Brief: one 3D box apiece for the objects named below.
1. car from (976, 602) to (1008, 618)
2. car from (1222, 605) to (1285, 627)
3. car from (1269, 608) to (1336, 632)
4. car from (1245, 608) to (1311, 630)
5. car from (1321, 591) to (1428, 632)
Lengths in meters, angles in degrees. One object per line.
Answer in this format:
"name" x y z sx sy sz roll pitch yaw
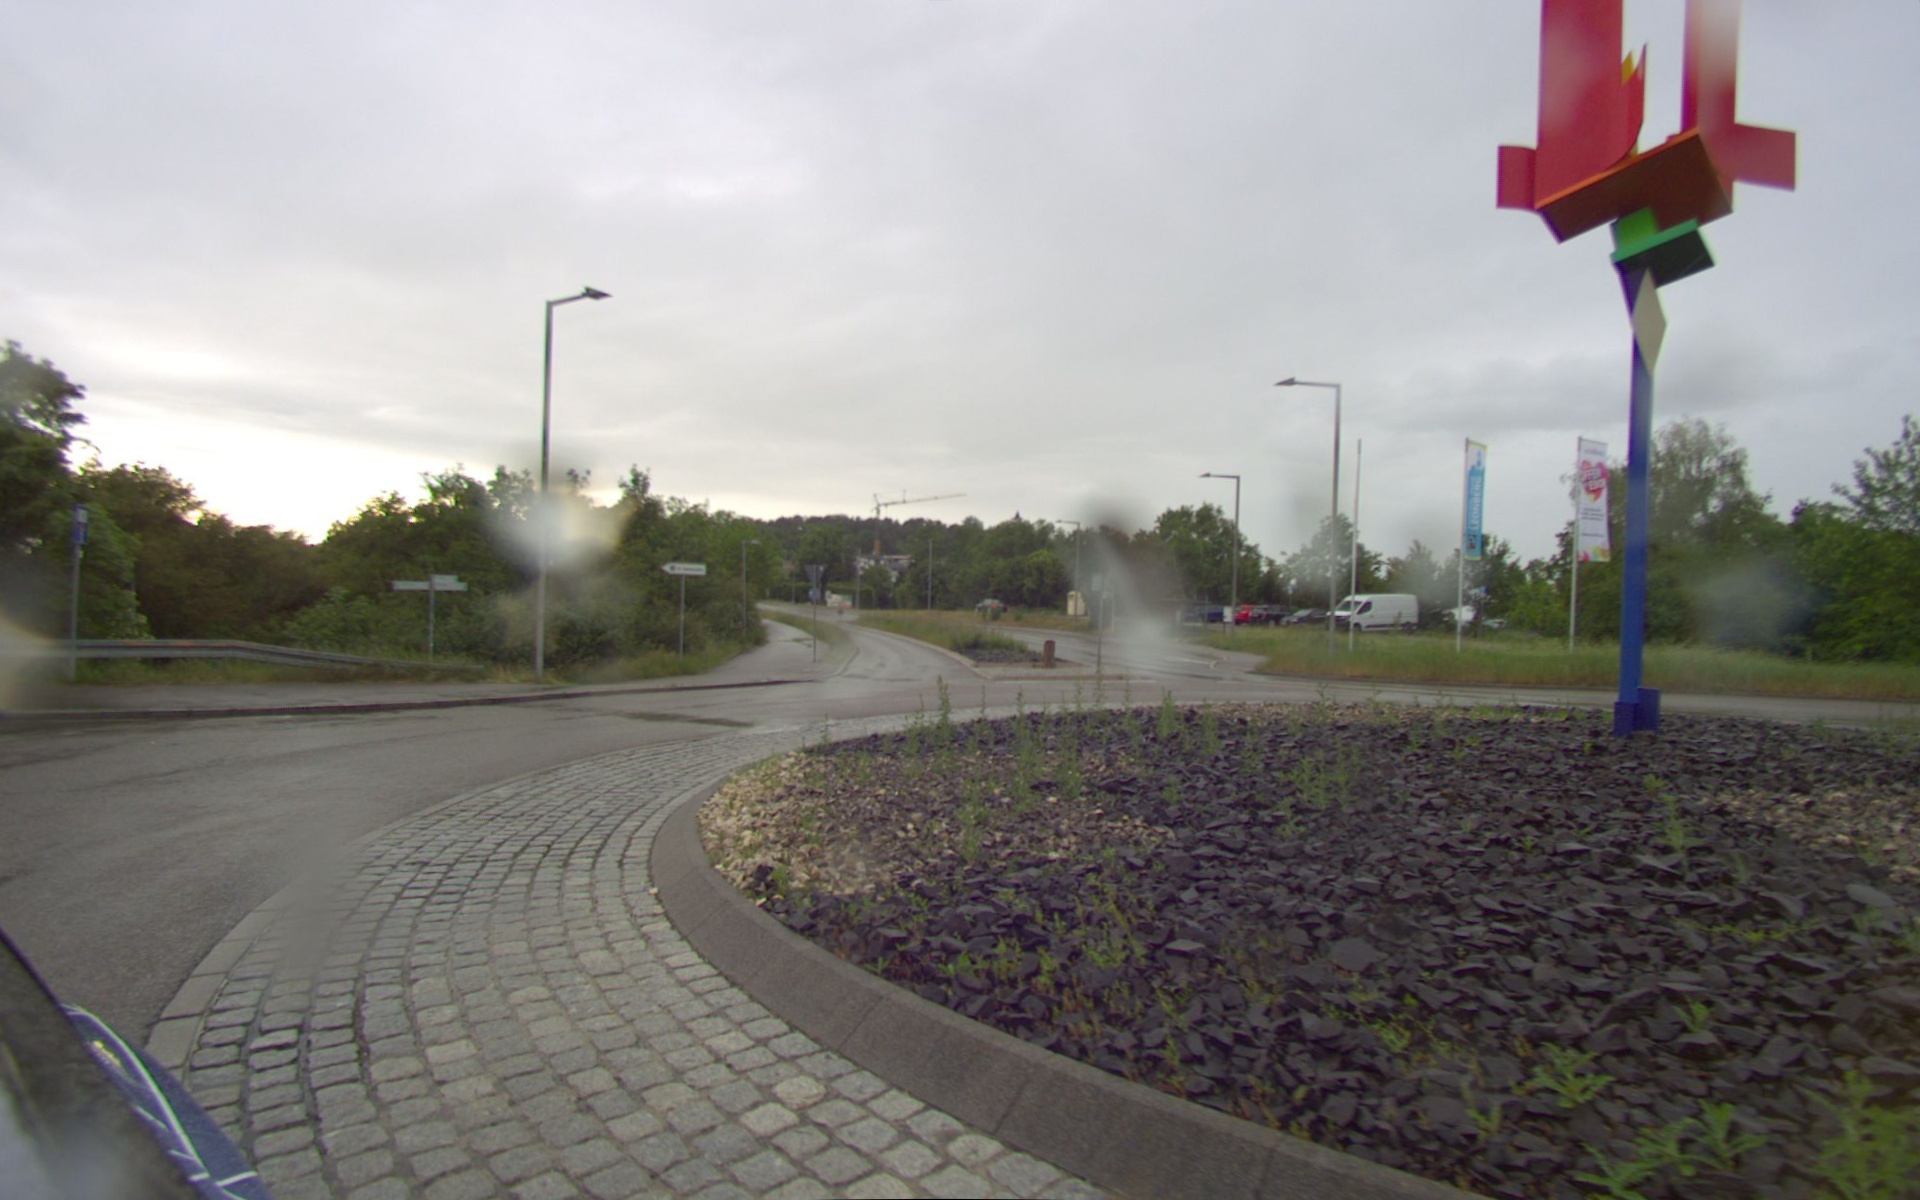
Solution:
"car" 3.296 1.040 103.690 1.667 1.580 4.556 -2 0 -20
"car" 21.100 1.172 72.794 3.931 1.480 1.854 1 0 -18
"car" 22.877 1.357 67.605 3.932 1.374 1.658 3 -1 -17
"car" 21.911 1.296 69.678 3.932 1.374 1.853 1 0 -17
"car" 25.693 0.659 62.667 6.462 2.415 2.146 0 2 -23
